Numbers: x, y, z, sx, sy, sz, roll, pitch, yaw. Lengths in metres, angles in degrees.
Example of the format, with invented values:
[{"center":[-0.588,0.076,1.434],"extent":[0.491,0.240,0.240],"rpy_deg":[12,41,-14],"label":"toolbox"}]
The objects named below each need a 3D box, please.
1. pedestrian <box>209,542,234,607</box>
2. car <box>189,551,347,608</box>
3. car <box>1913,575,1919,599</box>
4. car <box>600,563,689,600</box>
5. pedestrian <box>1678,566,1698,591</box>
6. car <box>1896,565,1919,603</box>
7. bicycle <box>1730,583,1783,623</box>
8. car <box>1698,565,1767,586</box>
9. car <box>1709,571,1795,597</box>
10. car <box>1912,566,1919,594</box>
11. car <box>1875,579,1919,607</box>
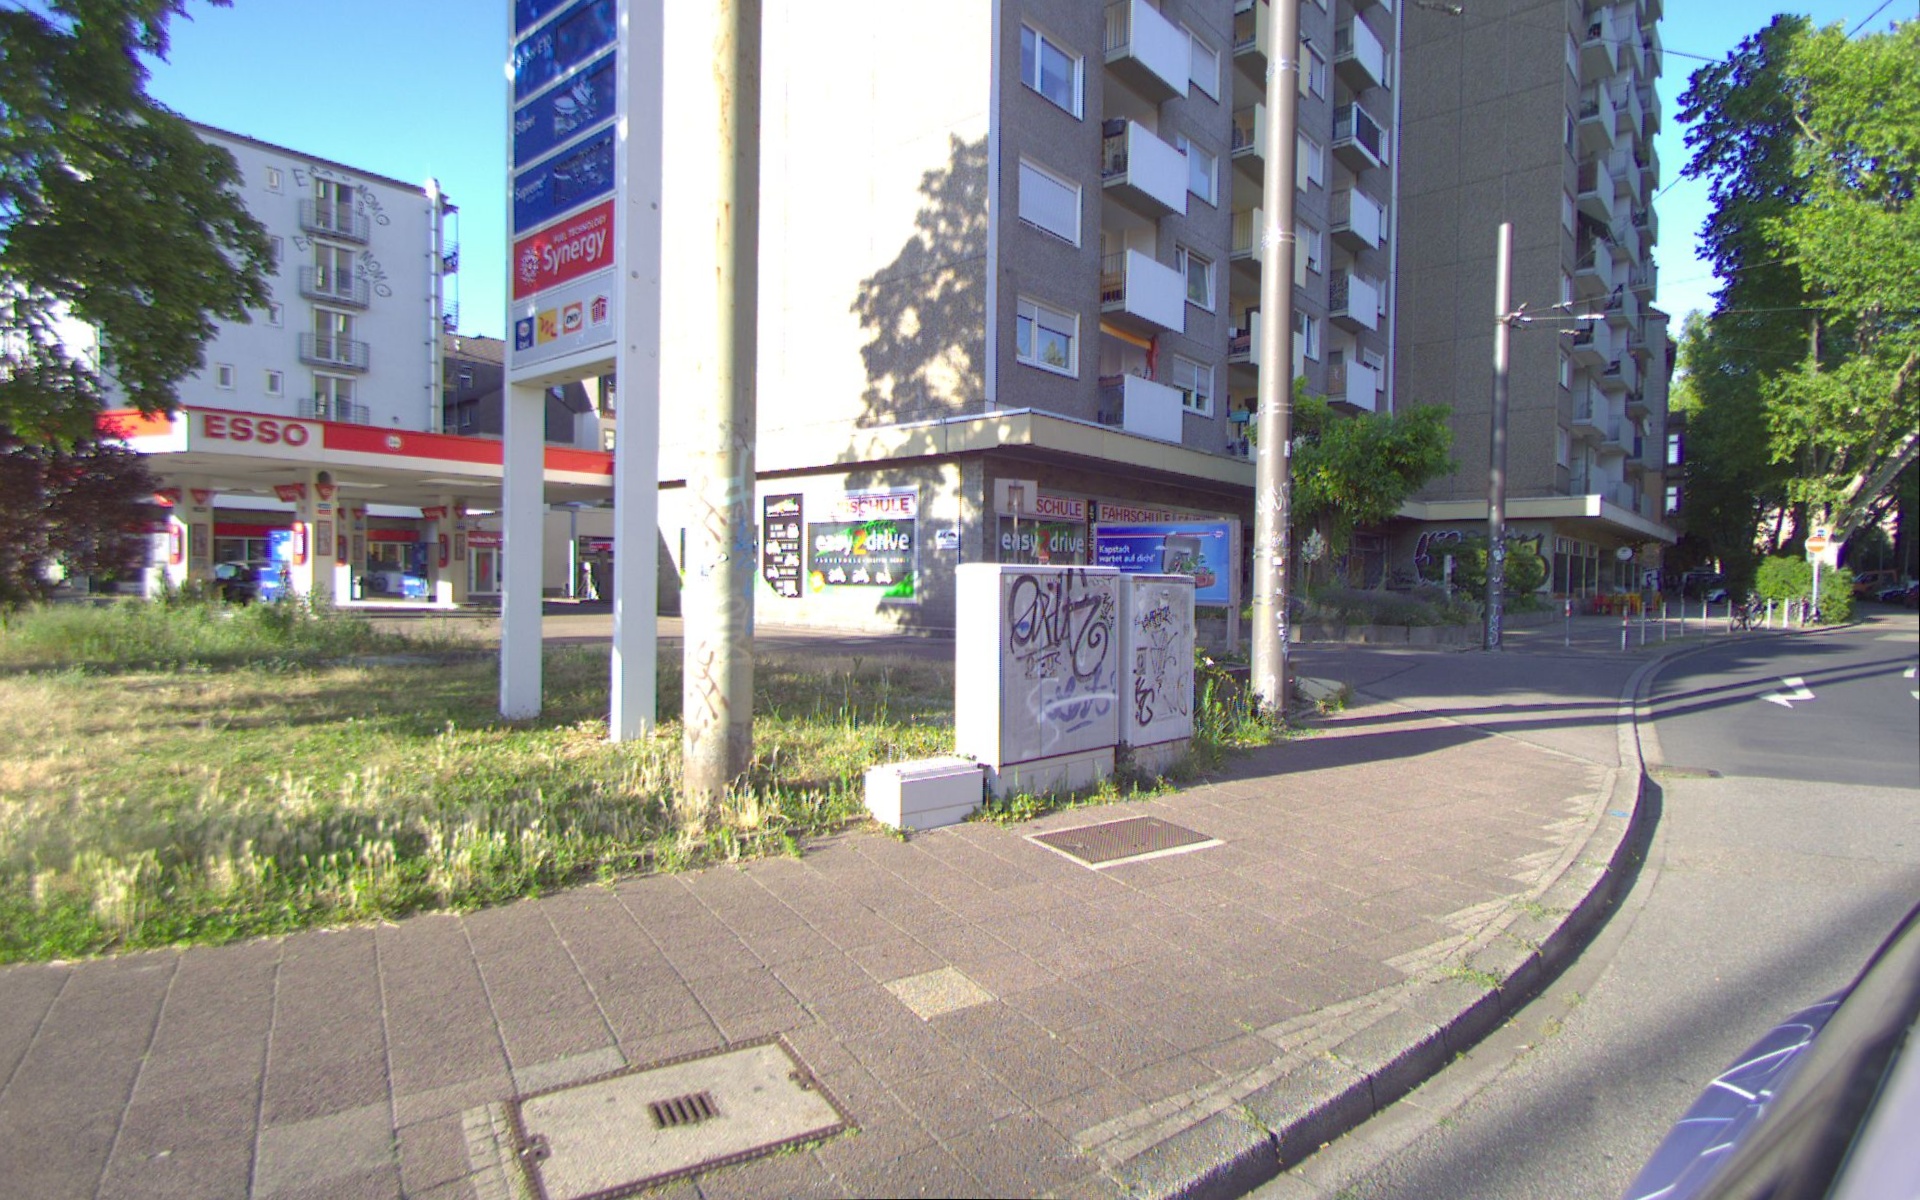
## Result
[{"center":[-19.854,-0.690,27.208],"extent":[0.416,1.726,0.417],"rpy_deg":[1,1,26],"label":"pedestrian"},{"center":[-19.577,-0.603,28.643],"extent":[3.960,1.370,1.983],"rpy_deg":[3,3,25],"label":"car"},{"center":[58.736,-0.787,60.725],"extent":[1.524,1.466,3.881],"rpy_deg":[1,2,33],"label":"car"},{"center":[-13.347,-0.804,42.660],"extent":[4.242,1.437,1.724],"rpy_deg":[2,2,43],"label":"car"},{"center":[58.680,-1.727,81.595],"extent":[1.204,2.039,1.193],"rpy_deg":[1,1,32],"label":"pedestrian"},{"center":[63.712,-1.037,65.765],"extent":[3.895,2.435,1.519],"rpy_deg":[1,2,31],"label":"car"},{"center":[23.648,0.077,30.031],"extent":[2.237,1.148,0.610],"rpy_deg":[-1,2,-35],"label":"bicycle"},{"center":[58.436,-1.828,76.651],"extent":[3.969,1.526,1.865],"rpy_deg":[2,2,32],"label":"car"},{"center":[48.917,-0.998,62.609],"extent":[3.969,1.526,1.865],"rpy_deg":[2,2,32],"label":"car"},{"center":[62.769,-1.216,63.673],"extent":[3.895,1.783,1.519],"rpy_deg":[1,2,31],"label":"car"},{"center":[66.747,-0.545,71.849],"extent":[1.757,1.880,4.183],"rpy_deg":[1,2,30],"label":"car"}]
